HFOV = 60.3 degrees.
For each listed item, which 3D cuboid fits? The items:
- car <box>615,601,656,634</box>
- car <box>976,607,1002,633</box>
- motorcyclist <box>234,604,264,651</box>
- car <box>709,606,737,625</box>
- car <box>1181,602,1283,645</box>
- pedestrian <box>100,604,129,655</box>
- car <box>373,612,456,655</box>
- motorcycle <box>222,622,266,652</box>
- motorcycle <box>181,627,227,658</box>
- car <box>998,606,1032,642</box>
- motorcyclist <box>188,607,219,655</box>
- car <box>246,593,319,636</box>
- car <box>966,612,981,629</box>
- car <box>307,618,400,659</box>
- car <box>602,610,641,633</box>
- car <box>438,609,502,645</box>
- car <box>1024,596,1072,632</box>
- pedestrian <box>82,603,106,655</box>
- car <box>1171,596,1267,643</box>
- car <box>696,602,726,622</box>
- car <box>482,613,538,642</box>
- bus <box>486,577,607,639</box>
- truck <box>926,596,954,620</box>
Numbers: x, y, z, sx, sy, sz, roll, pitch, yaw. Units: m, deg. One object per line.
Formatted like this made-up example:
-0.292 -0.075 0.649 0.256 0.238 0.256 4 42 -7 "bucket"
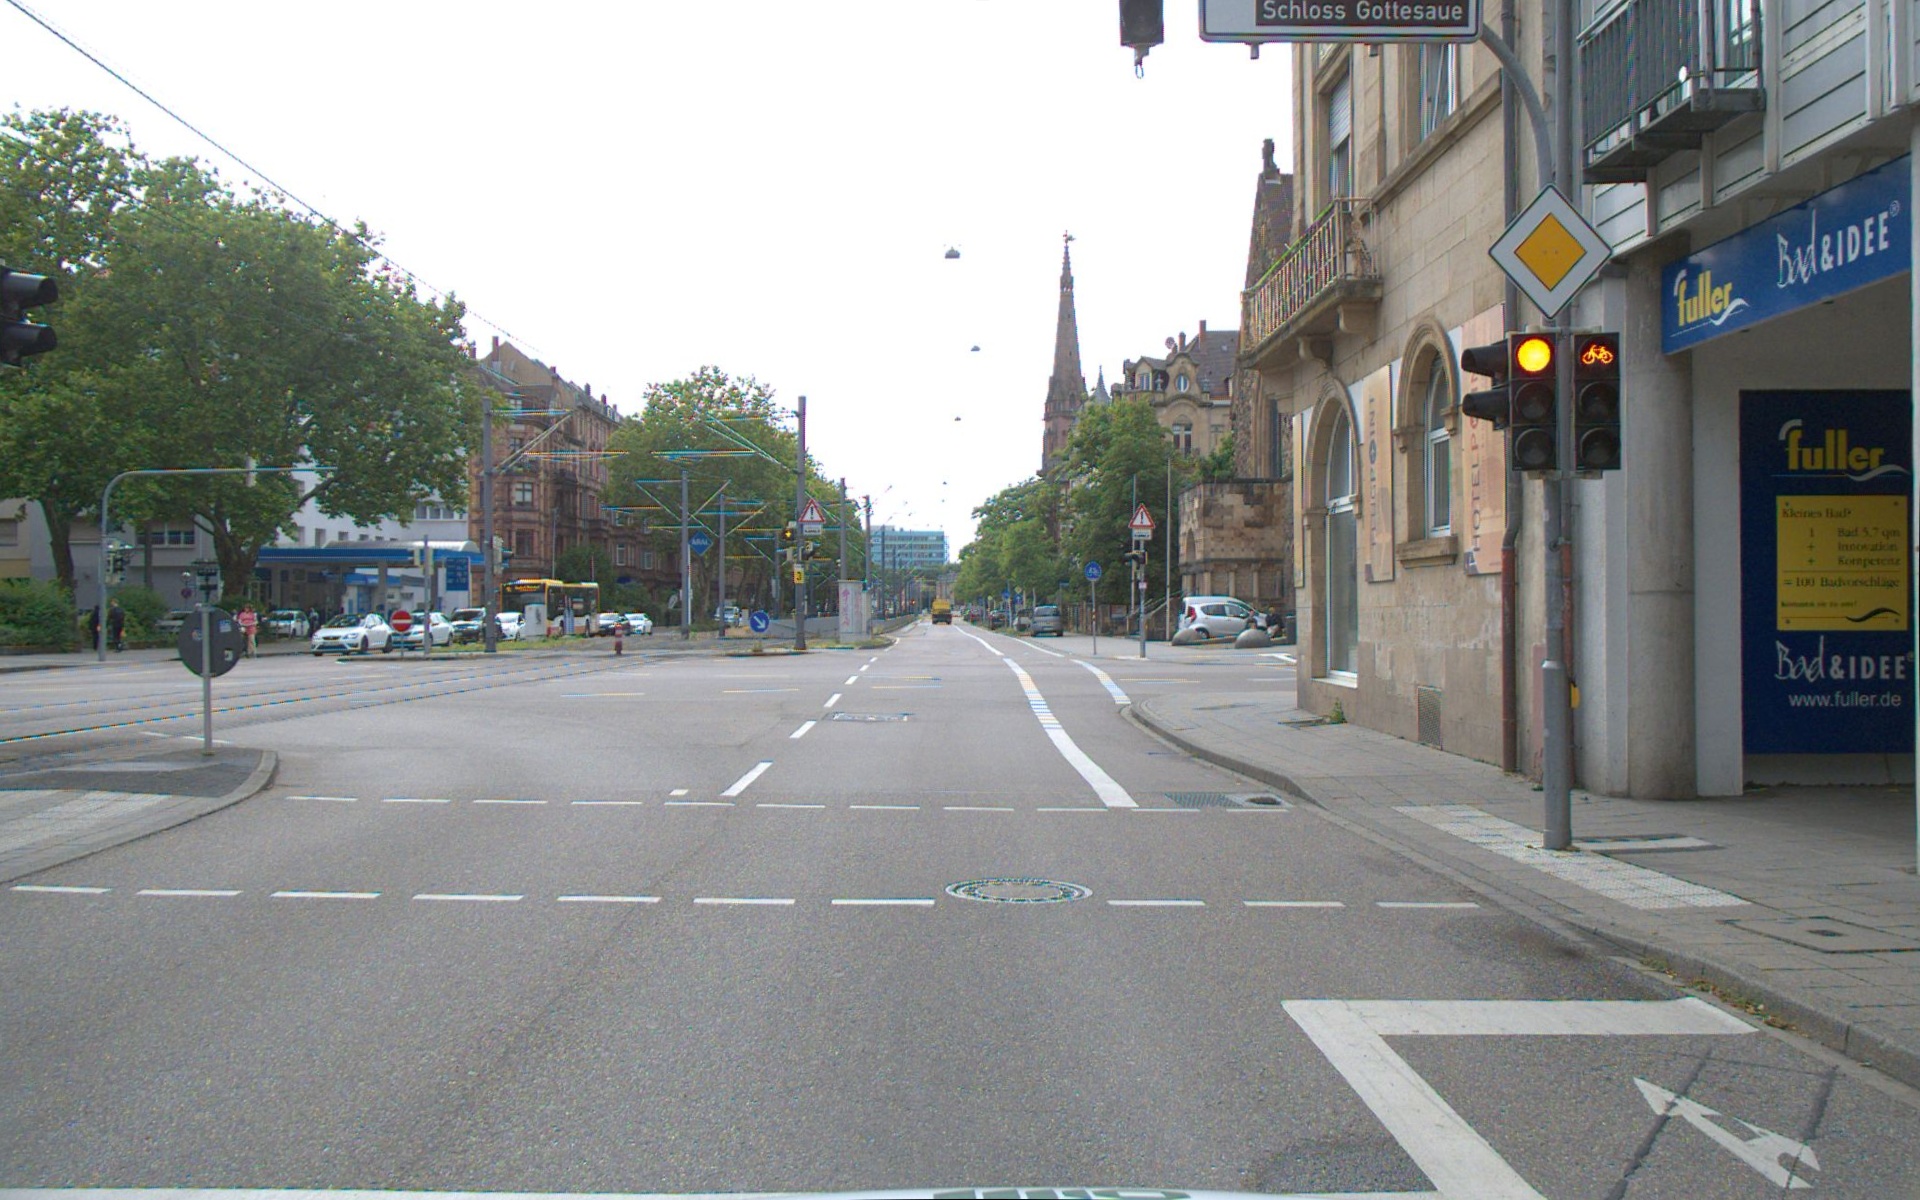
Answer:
-21.412 1.144 109.256 1.953 2.049 3.999 1 0 -1 "car"
2.377 1.634 135.998 1.953 2.049 3.999 1 0 -1 "car"
-23.660 0.923 55.061 0.607 1.546 0.873 0 0 -1 "motorcyclist"
-21.338 1.393 148.988 1.953 1.639 3.999 1 0 -1 "car"
10.672 0.927 65.058 3.638 1.591 2.000 1 0 -1 "car"
-29.016 0.995 56.760 0.863 1.743 0.866 0 0 -29 "pedestrian"
-21.425 1.296 65.125 1.953 1.622 3.999 1 0 -1 "car"
-23.661 1.217 54.693 0.594 0.945 1.951 0 0 0 "motorcycle"
-24.706 1.379 54.079 0.594 0.945 1.951 0 0 0 "motorcycle"
3.287 1.425 99.643 1.952 2.049 4.000 1 0 1 "car"
-24.689 0.998 53.988 0.607 1.546 0.873 0 0 -1 "motorcyclist"
-32.877 0.697 80.391 1.953 2.049 3.999 0 0 -1 "car"
1.770 2.671 216.820 1.953 2.049 3.999 1 0 -1 "car"
-21.438 1.340 58.612 1.711 1.344 4.075 1 0 1 "car"
-20.825 1.316 101.890 1.622 1.344 3.638 1 0 1 "car"
-21.225 1.148 71.779 1.622 1.504 3.638 1 0 1 "car"
4.814 0.775 90.044 1.951 1.888 4.030 1 0 12 "car"
-29.528 0.985 56.386 0.681 1.743 0.861 0 0 -29 "pedestrian"
10.689 0.796 68.553 3.638 1.888 2.000 1 0 -1 "car"
-21.223 1.036 141.179 1.953 1.639 3.999 1 0 -1 "car"
-21.381 1.294 78.697 1.622 1.344 3.638 1 0 1 "car"
-21.968 0.427 88.751 3.164 3.088 12.312 1 0 1 "bus"
-2.400 0.951 197.803 2.992 2.817 9.817 0 0 1 "truck"
